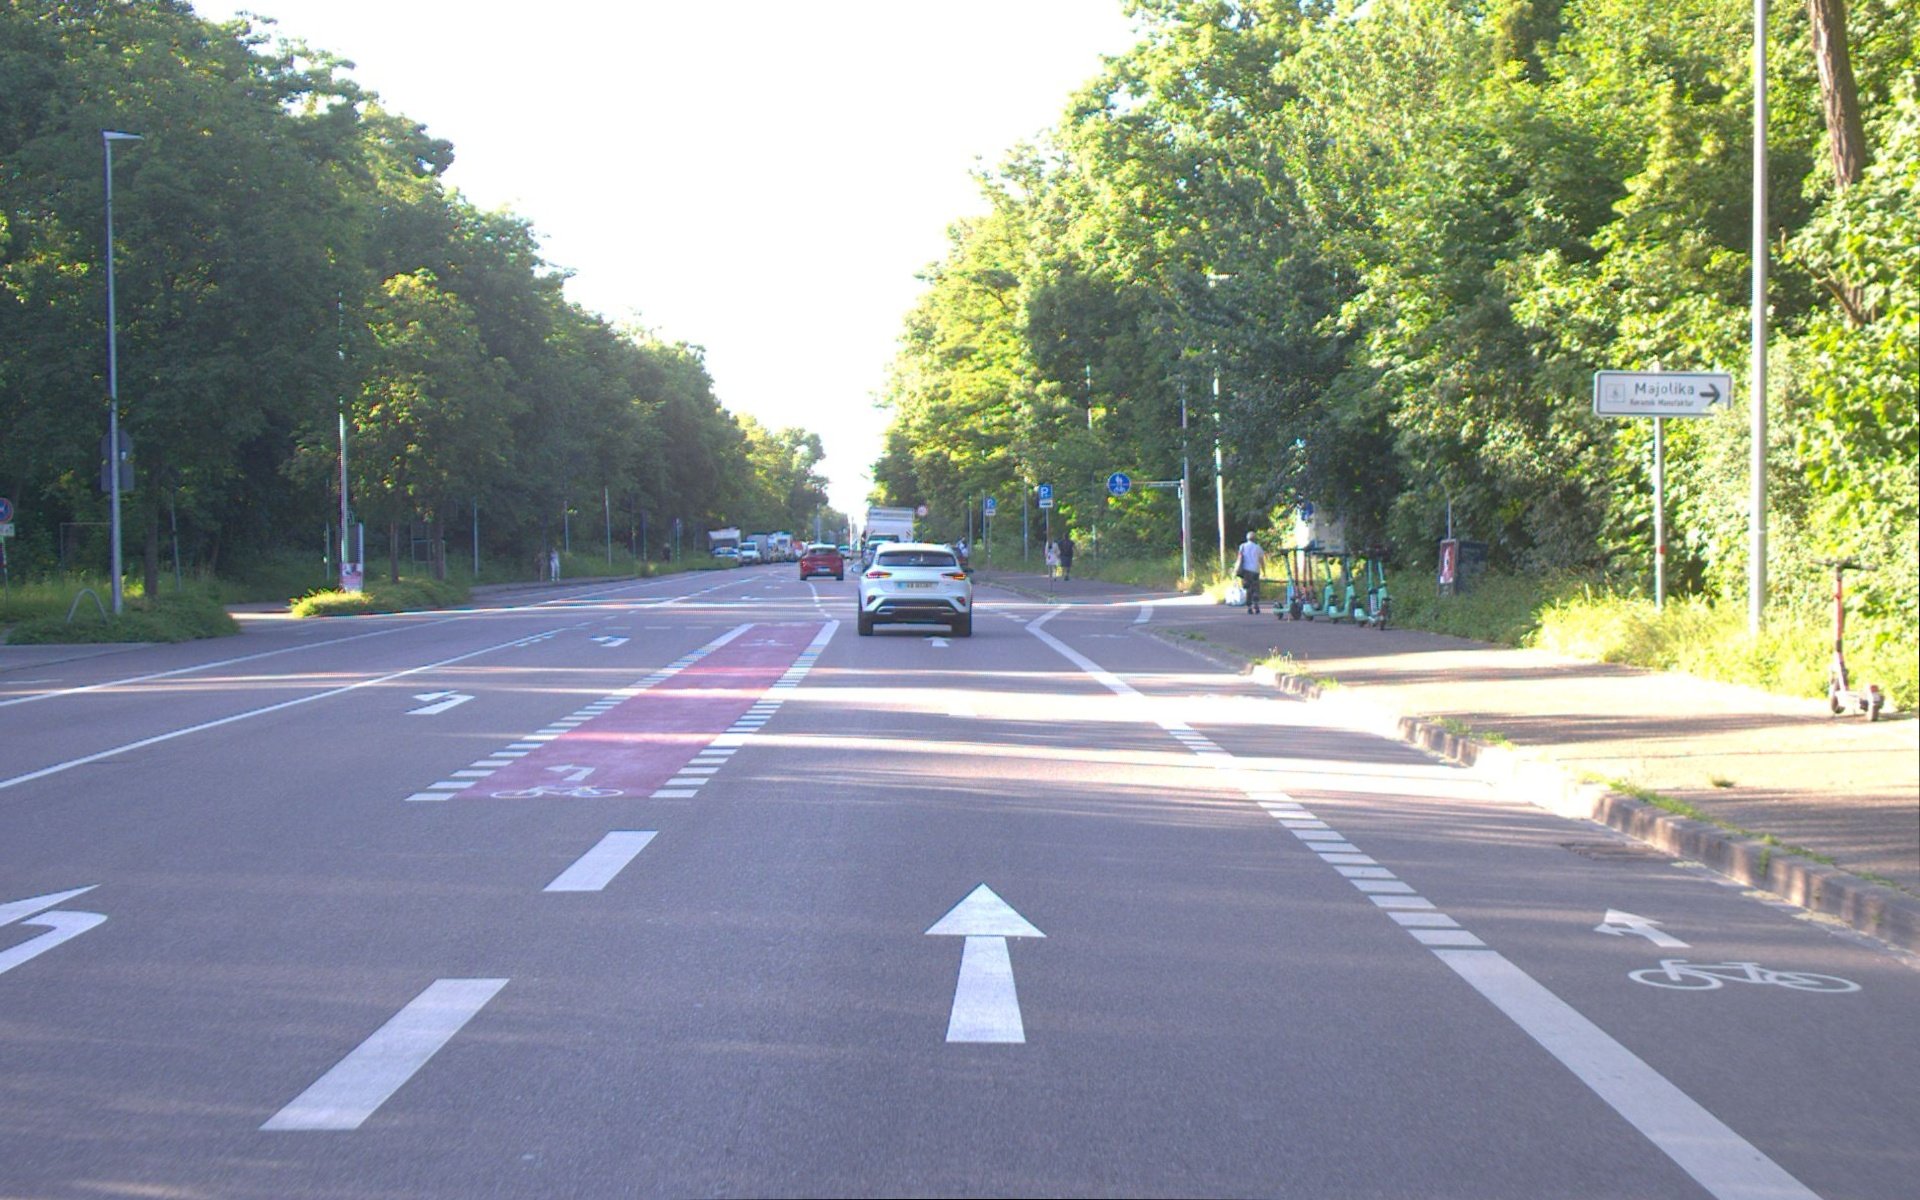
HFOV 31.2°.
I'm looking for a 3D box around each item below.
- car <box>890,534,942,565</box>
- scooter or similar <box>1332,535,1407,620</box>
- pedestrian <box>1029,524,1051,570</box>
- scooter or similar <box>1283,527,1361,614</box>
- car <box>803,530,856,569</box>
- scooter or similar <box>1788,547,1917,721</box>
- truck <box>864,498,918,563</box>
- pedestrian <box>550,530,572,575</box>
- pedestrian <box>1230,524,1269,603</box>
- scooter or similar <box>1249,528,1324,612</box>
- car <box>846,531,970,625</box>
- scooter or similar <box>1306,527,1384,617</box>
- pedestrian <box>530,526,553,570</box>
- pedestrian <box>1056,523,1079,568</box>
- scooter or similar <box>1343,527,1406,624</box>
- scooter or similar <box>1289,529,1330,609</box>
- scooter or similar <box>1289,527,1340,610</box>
[{"bbox_3d":[-1.923,-2.203,149.510,1.993,1.322,4.001,-1,1,-4],"label":"car"},{"bbox_3d":[6.340,-0.353,53.304,0.465,1.302,1.481,-1,1,-23],"label":"scooter or similar"},{"bbox_3d":[2.858,-1.907,123.242,0.698,1.647,0.876,-1,1,-1],"label":"pedestrian"},{"bbox_3d":[6.040,-0.496,57.470,0.682,1.418,1.682,-1,1,-16],"label":"scooter or similar"},{"bbox_3d":[-5.305,-2.080,140.330,1.993,1.514,4.000,-1,1,0],"label":"car"},{"bbox_3d":[6.654,0.235,25.687,0.533,1.245,1.541,-1,1,-1],"label":"scooter or similar"},{"bbox_3d":[-3.924,-3.917,193.236,2.799,3.558,8.036,0,1,-2],"label":"truck"},{"bbox_3d":[-18.320,-2.189,157.802,0.831,2.007,1.269,-1,1,1],"label":"pedestrian"},{"bbox_3d":[5.816,-0.739,69.068,0.755,1.558,0.802,-1,1,4],"label":"pedestrian"},{"bbox_3d":[5.606,-0.523,59.147,0.682,1.418,1.682,-1,1,-16],"label":"scooter or similar"},{"bbox_3d":[-0.884,-0.382,56.145,1.761,1.454,3.818,1,1,-5],"label":"car"},{"bbox_3d":[6.194,-0.458,55.399,0.682,1.418,1.682,-1,1,-14],"label":"scooter or similar"},{"bbox_3d":[-19.184,-2.396,157.786,0.863,2.007,1.269,-1,1,0],"label":"pedestrian"},{"bbox_3d":[3.854,-1.969,123.268,0.743,1.593,0.798,-1,1,-1],"label":"pedestrian"},{"bbox_3d":[6.193,-0.372,51.448,0.682,1.418,1.682,-1,1,-1],"label":"scooter or similar"},{"bbox_3d":[6.309,-0.561,61.975,0.682,1.418,1.245,-1,1,7],"label":"scooter or similar"},{"bbox_3d":[6.230,-0.566,60.462,0.682,1.418,1.682,-1,1,-1],"label":"scooter or similar"}]
